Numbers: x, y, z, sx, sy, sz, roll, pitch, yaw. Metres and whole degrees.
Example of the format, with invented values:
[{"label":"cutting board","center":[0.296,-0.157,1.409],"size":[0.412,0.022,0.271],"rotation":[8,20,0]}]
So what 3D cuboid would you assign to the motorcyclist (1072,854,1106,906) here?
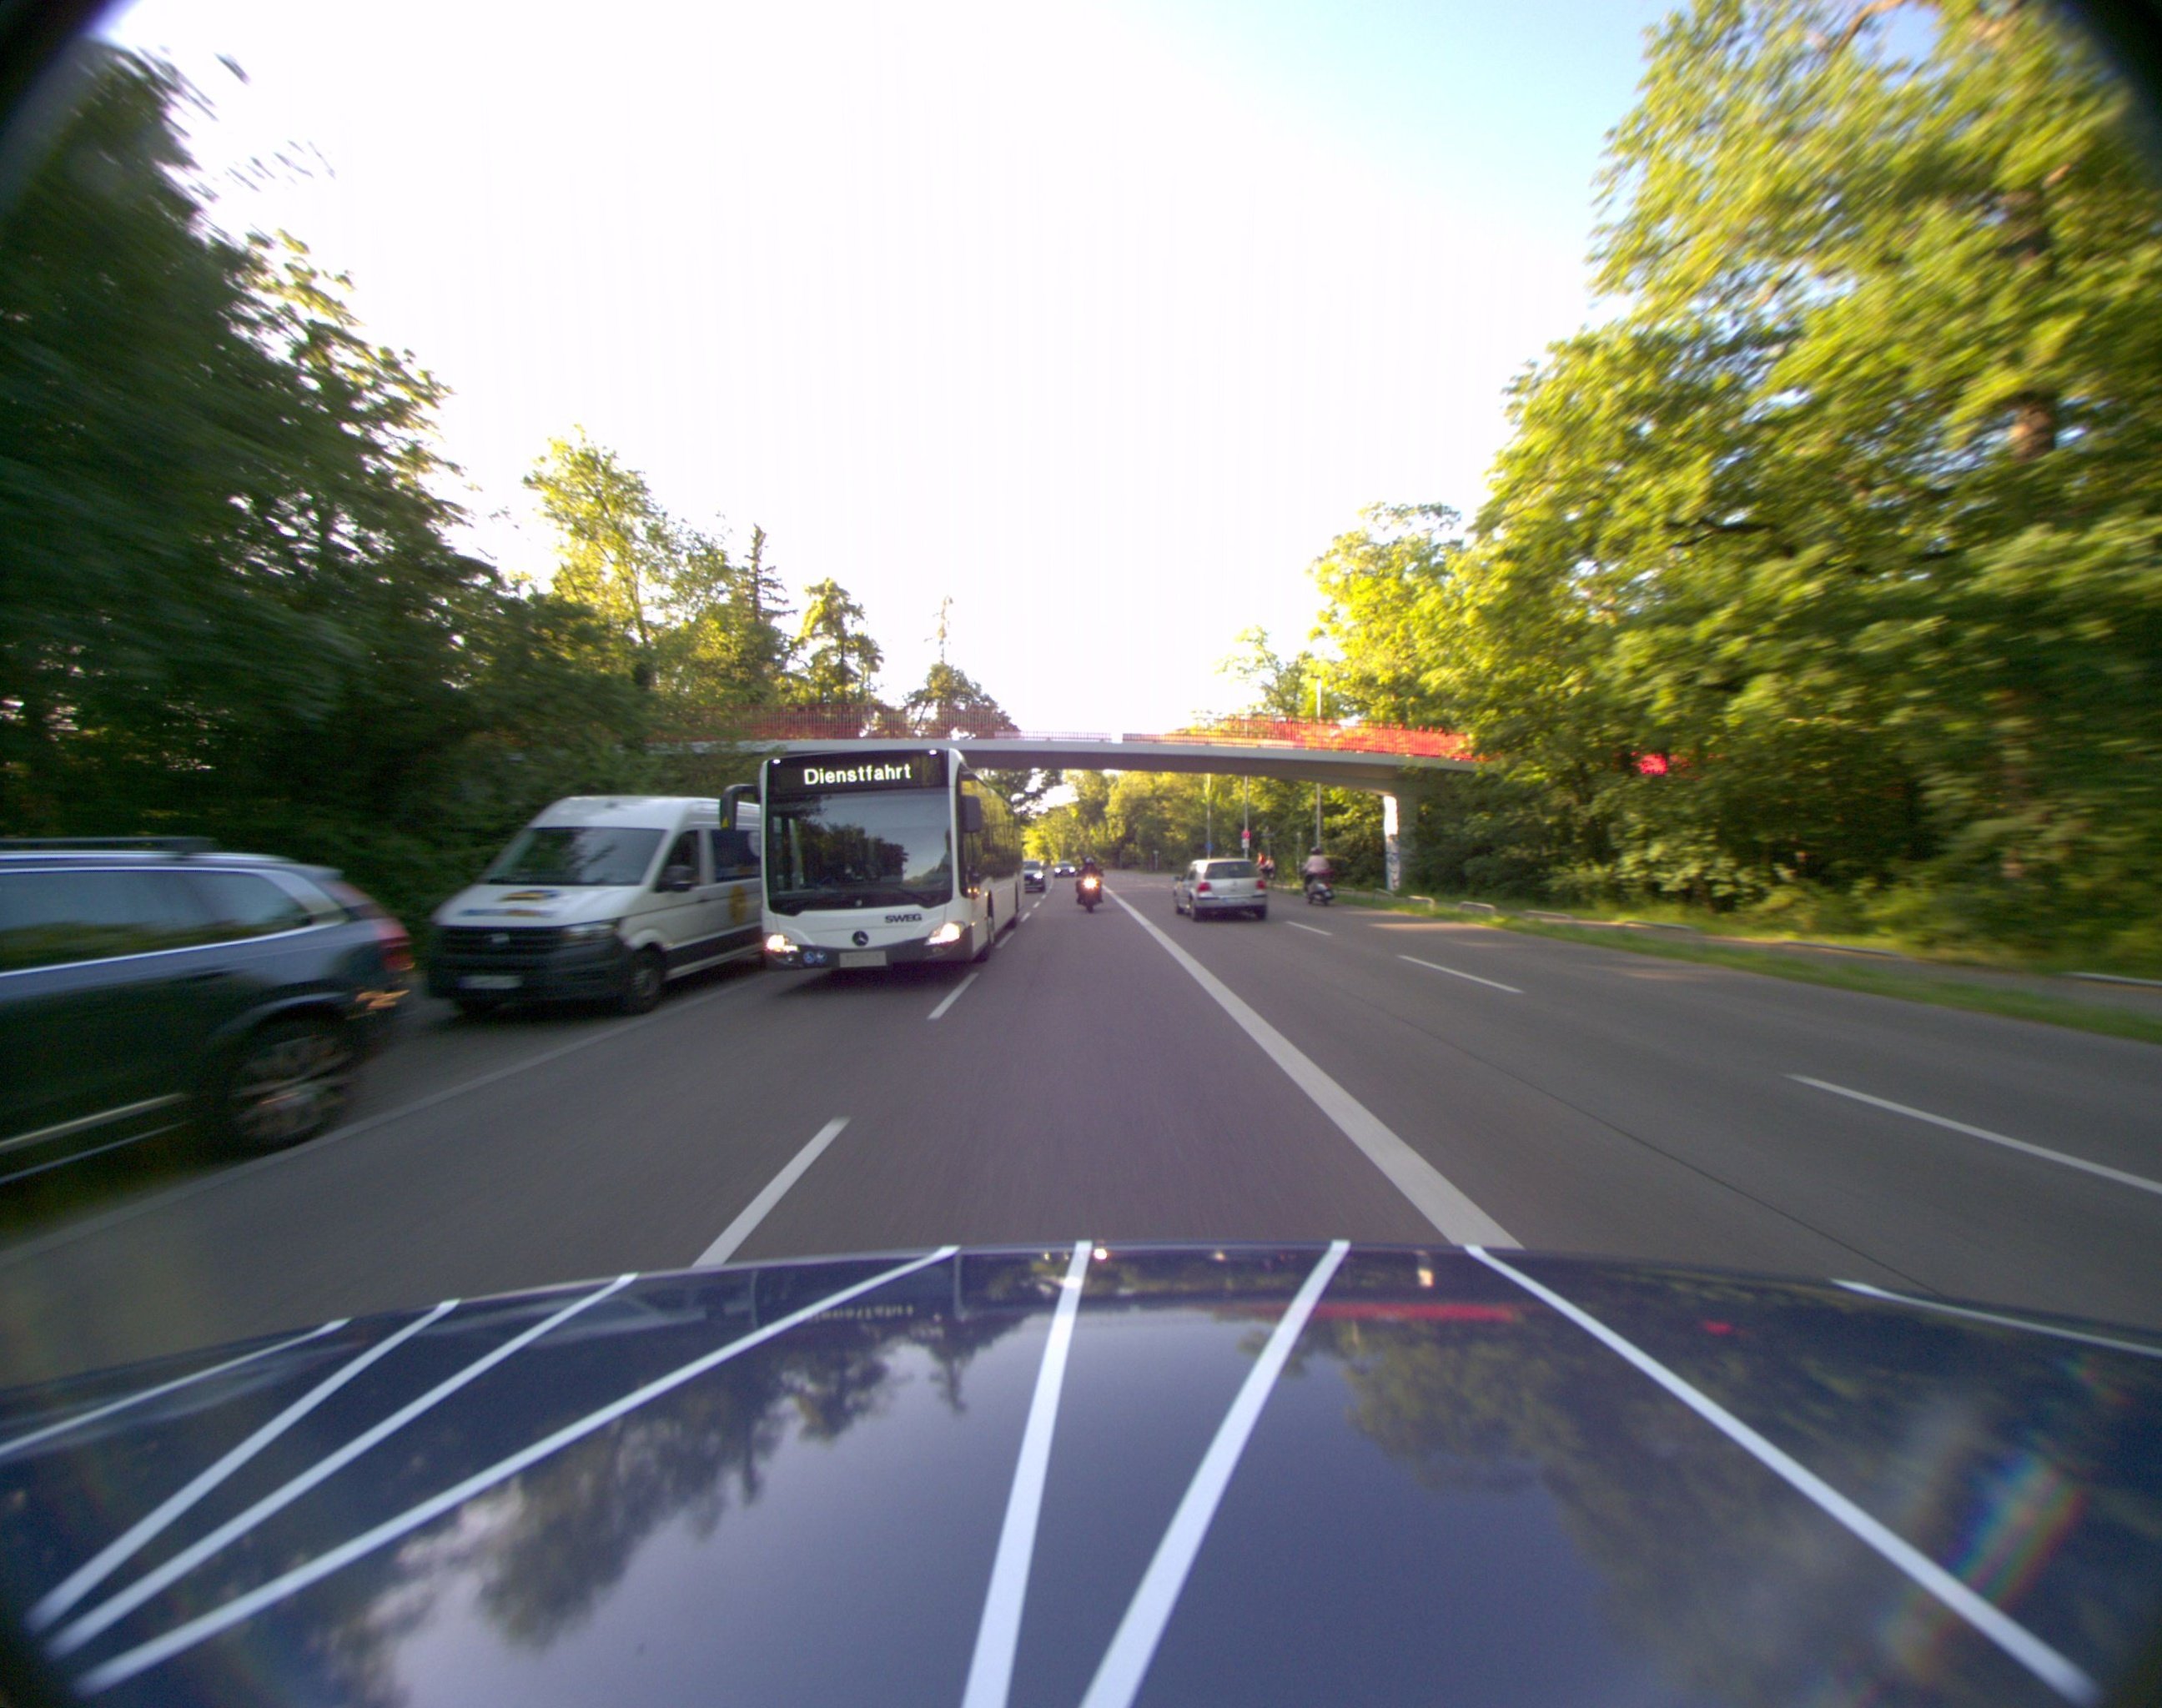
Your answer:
[{"label":"motorcyclist","center":[0.250,0.781,23.207],"size":[0.953,1.523,1.074],"rotation":[-2,0,0]}]

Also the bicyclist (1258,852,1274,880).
[{"label":"bicyclist","center":[10.949,0.707,45.079],"size":[0.797,1.687,0.946],"rotation":[-1,0,8]}]

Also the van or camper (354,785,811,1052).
[{"label":"van or camper","center":[-5.774,0.622,10.173],"size":[2.124,2.502,5.980],"rotation":[-1,0,0]}]

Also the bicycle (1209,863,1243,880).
[{"label":"bicycle","center":[8.691,1.048,45.608],"size":[1.930,0.929,0.825],"rotation":[-1,0,8]}]

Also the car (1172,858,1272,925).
[{"label":"car","center":[3.322,0.827,18.576],"size":[1.685,1.398,3.889],"rotation":[-2,0,0]}]

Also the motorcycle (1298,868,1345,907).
[{"label":"motorcycle","center":[6.733,0.923,21.401],"size":[0.638,0.989,2.077],"rotation":[-2,0,0]}]

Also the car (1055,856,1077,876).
[{"label":"car","center":[-1.425,1.089,71.714],"size":[1.999,1.761,4.231],"rotation":[-1,0,-2]}]

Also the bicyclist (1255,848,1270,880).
[{"label":"bicyclist","center":[11.071,0.614,46.353],"size":[0.797,1.890,0.818],"rotation":[-1,0,8]}]

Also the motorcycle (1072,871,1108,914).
[{"label":"motorcycle","center":[0.254,1.131,23.173],"size":[0.956,1.098,3.339],"rotation":[-3,0,0]}]

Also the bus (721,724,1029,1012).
[{"label":"bus","center":[-2.764,0.153,14.838],"size":[2.711,3.203,12.277],"rotation":[-2,0,-1]}]

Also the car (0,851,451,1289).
[{"label":"car","center":[-5.515,0.925,2.959],"size":[1.834,1.857,5.074],"rotation":[-1,0,1]}]

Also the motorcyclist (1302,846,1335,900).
[{"label":"motorcyclist","center":[6.730,0.531,21.547],"size":[0.726,1.496,0.672],"rotation":[-1,1,0]}]

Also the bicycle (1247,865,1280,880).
[{"label":"bicycle","center":[11.116,1.131,46.360],"size":[1.930,0.929,0.825],"rotation":[0,0,8]}]

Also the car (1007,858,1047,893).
[{"label":"car","center":[-2.787,1.027,38.632],"size":[1.862,1.608,3.998],"rotation":[-2,0,-5]}]

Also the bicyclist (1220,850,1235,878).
[{"label":"bicyclist","center":[8.798,0.582,45.583],"size":[0.797,1.634,0.842],"rotation":[-1,0,8]}]

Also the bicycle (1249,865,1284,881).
[{"label":"bicycle","center":[10.979,1.124,45.068],"size":[1.930,0.929,0.825],"rotation":[-1,0,8]}]
